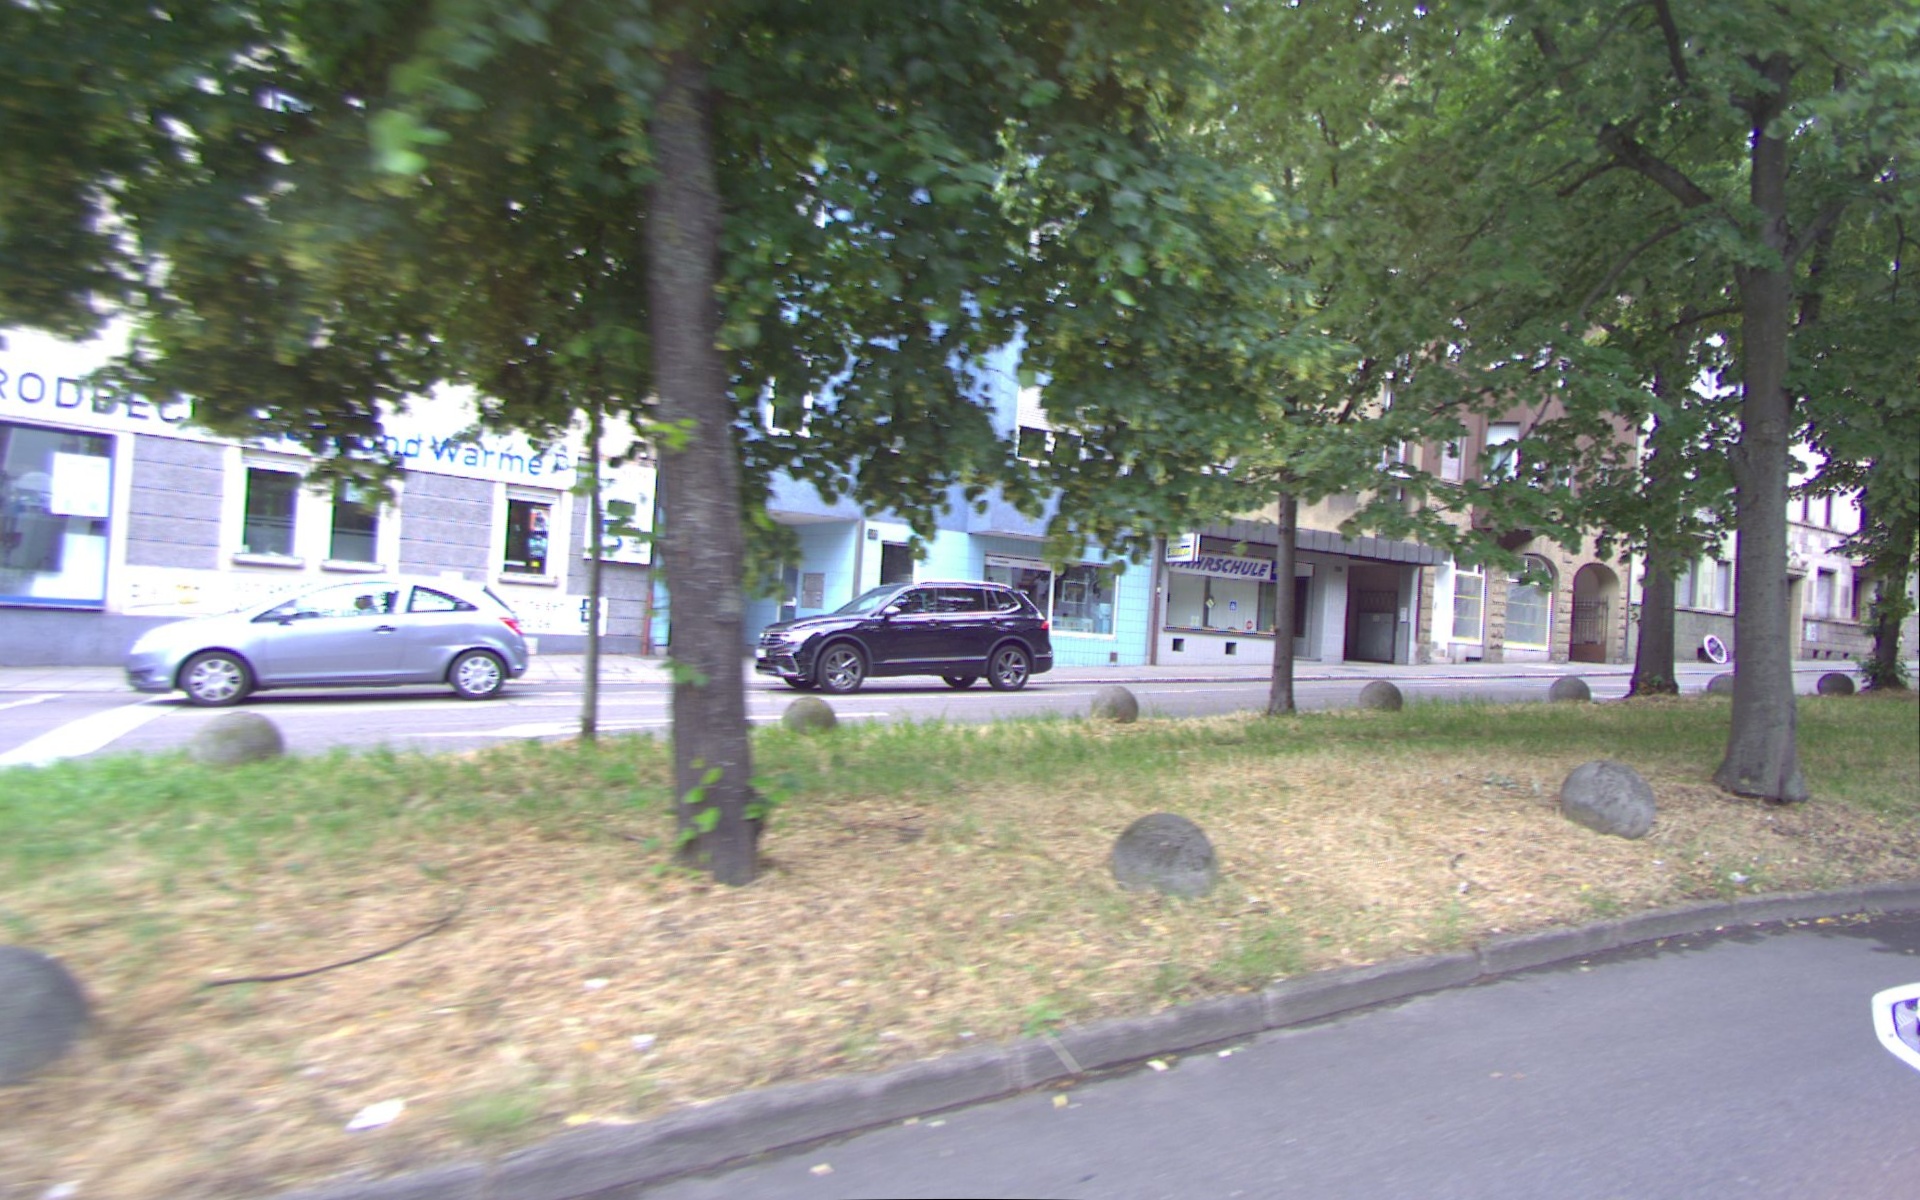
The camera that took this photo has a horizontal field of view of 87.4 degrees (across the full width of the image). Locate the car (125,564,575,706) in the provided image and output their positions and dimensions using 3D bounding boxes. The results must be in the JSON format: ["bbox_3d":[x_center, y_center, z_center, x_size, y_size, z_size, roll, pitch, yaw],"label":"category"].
[{"bbox_3d":[-6.938,0.400,11.878,4.245,1.425,1.661,2,-1,-31],"label":"car"}]

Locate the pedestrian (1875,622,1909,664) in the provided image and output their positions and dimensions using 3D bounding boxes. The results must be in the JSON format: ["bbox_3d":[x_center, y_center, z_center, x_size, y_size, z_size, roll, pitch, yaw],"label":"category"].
[{"bbox_3d":[34.334,1.580,37.010,0.695,1.480,0.696,1,1,-27],"label":"pedestrian"}]

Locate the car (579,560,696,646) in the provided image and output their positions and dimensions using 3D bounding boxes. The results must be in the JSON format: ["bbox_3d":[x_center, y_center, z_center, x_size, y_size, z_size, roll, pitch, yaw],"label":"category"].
[{"bbox_3d":[-8.913,0.025,27.466,1.977,2.040,4.904,4,0,-30],"label":"car"}]

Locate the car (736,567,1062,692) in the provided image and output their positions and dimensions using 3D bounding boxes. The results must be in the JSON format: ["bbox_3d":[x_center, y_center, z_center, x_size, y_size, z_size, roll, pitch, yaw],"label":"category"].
[{"bbox_3d":[-0.869,0.505,15.325,4.623,1.658,1.808,3,-2,-29],"label":"car"}]
